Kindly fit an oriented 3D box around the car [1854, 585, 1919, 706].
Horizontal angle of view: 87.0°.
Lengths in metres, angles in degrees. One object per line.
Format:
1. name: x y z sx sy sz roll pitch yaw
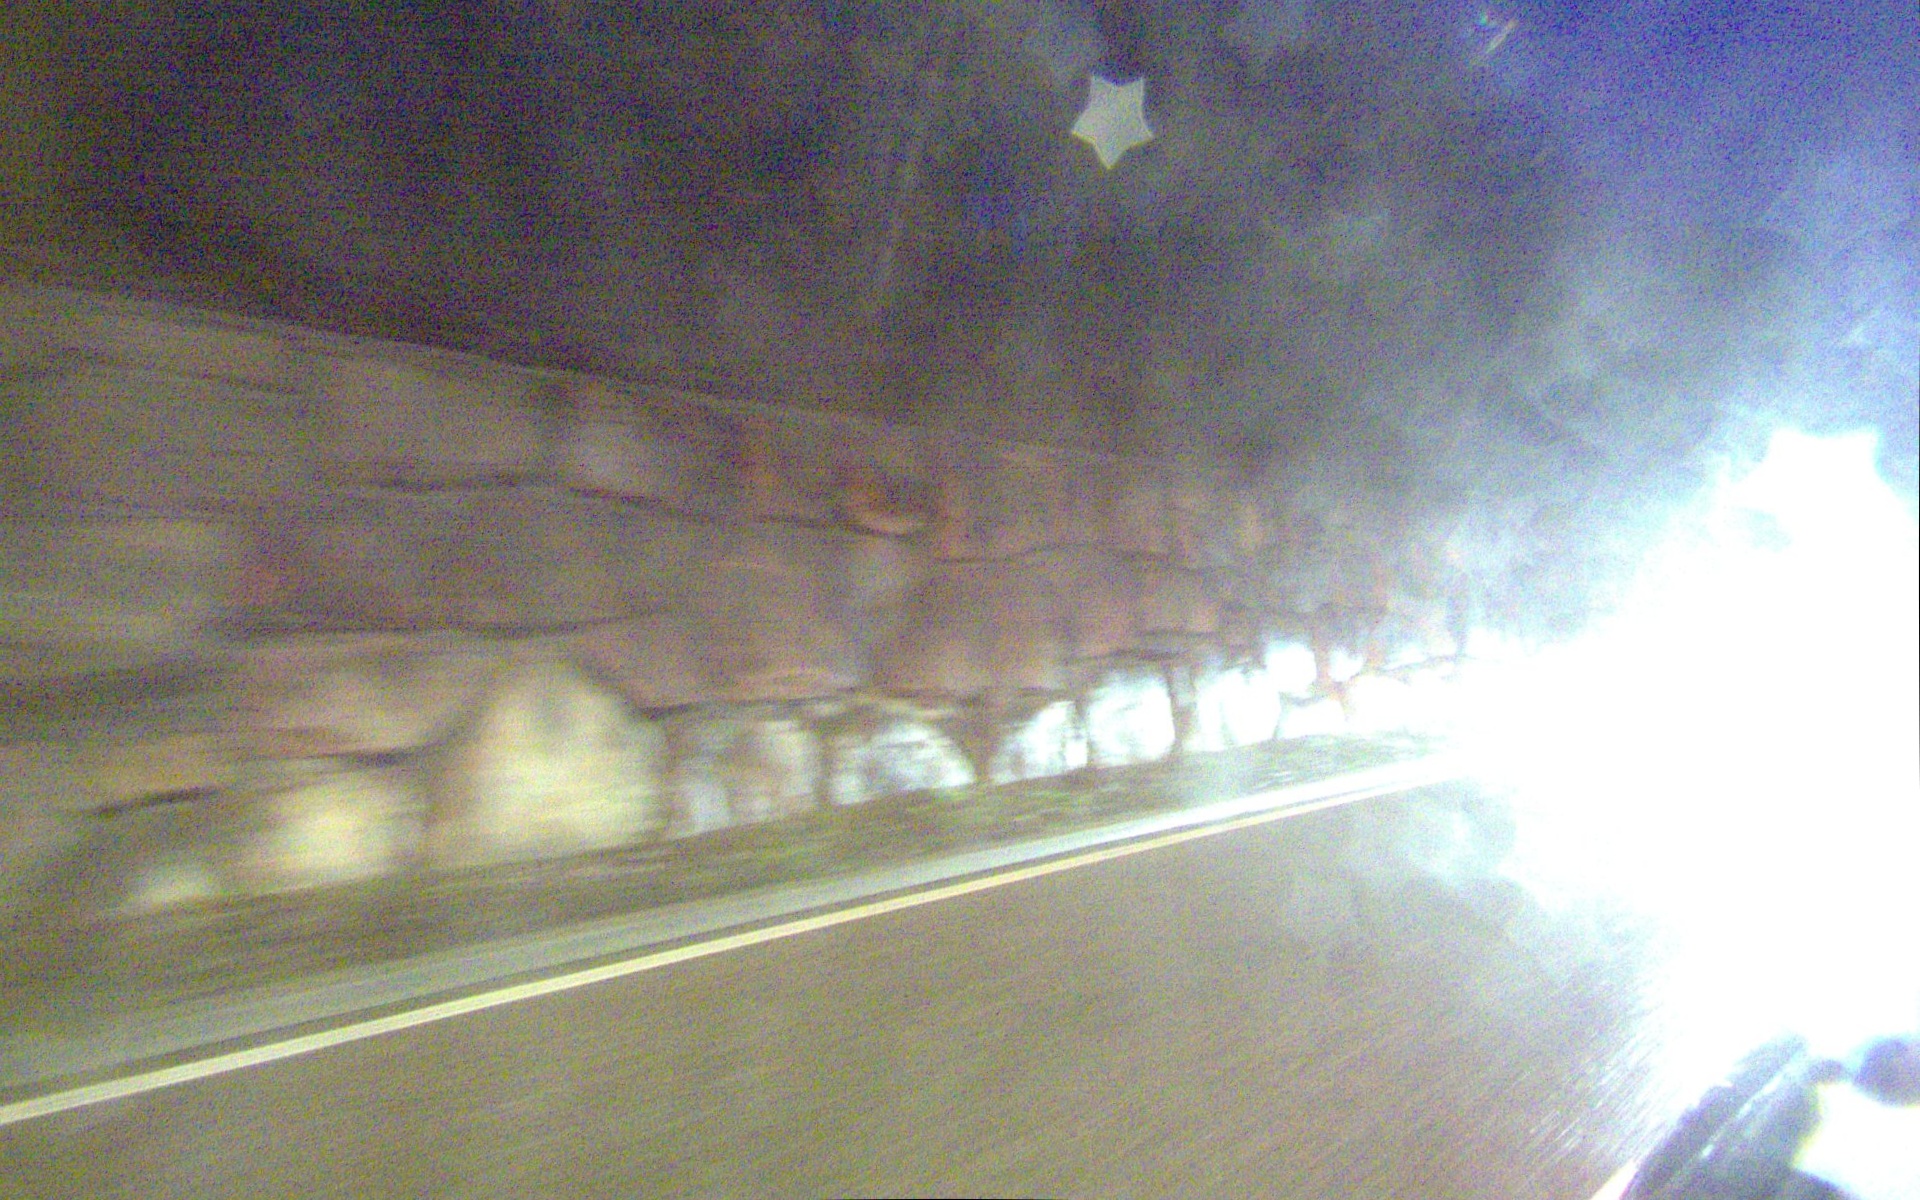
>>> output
1. car: 15.308 0.655 15.522 4.143 1.715 1.790 0 0 -40
